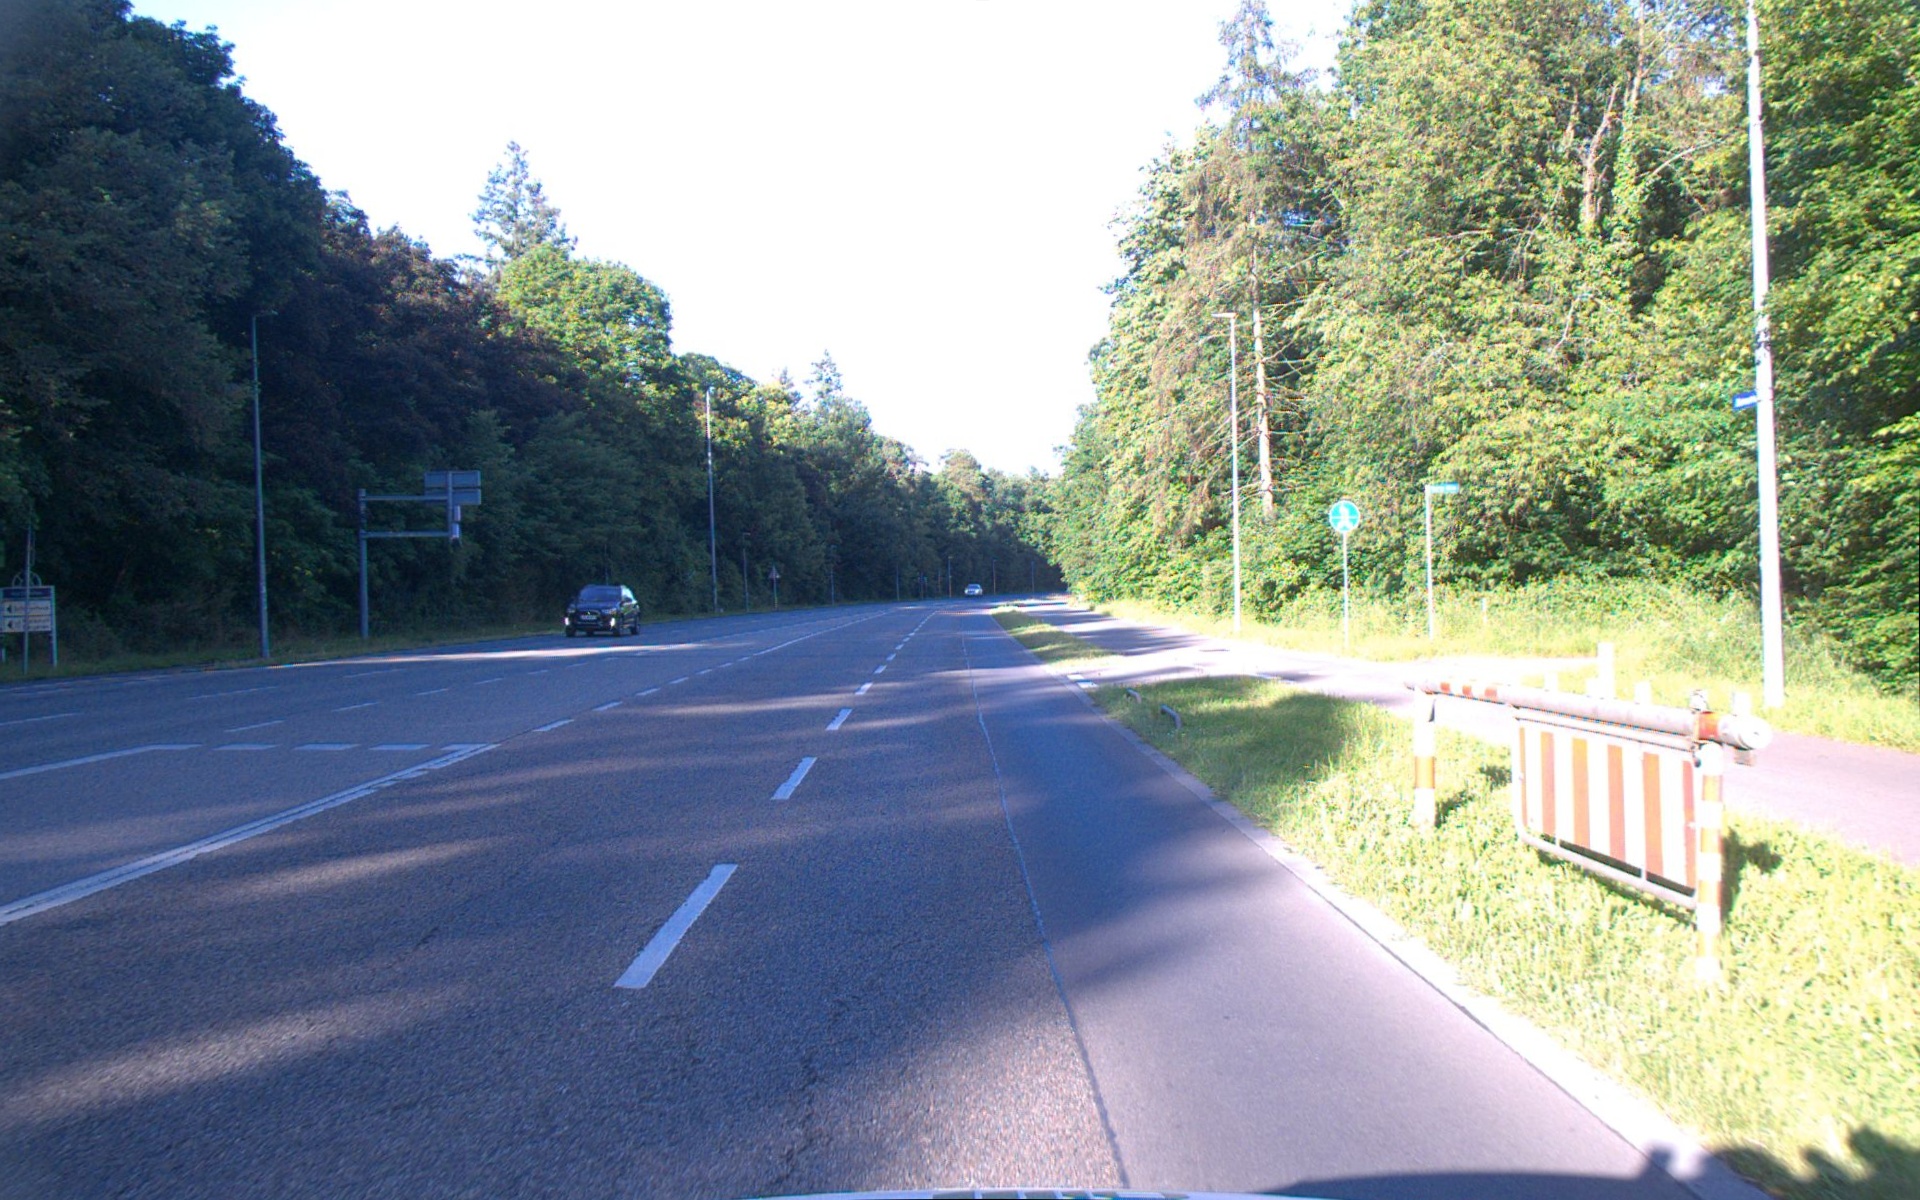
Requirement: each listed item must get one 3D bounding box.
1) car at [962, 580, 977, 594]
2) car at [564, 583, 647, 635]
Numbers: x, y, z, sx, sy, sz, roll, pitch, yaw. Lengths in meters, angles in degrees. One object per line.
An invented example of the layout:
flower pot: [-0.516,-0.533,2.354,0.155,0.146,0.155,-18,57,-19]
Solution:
car: [1.181,-1.613,208.919,1.869,1.693,4.734,-1,0,0]
car: [-11.584,0.260,54.326,1.787,1.617,4.351,-1,0,0]
